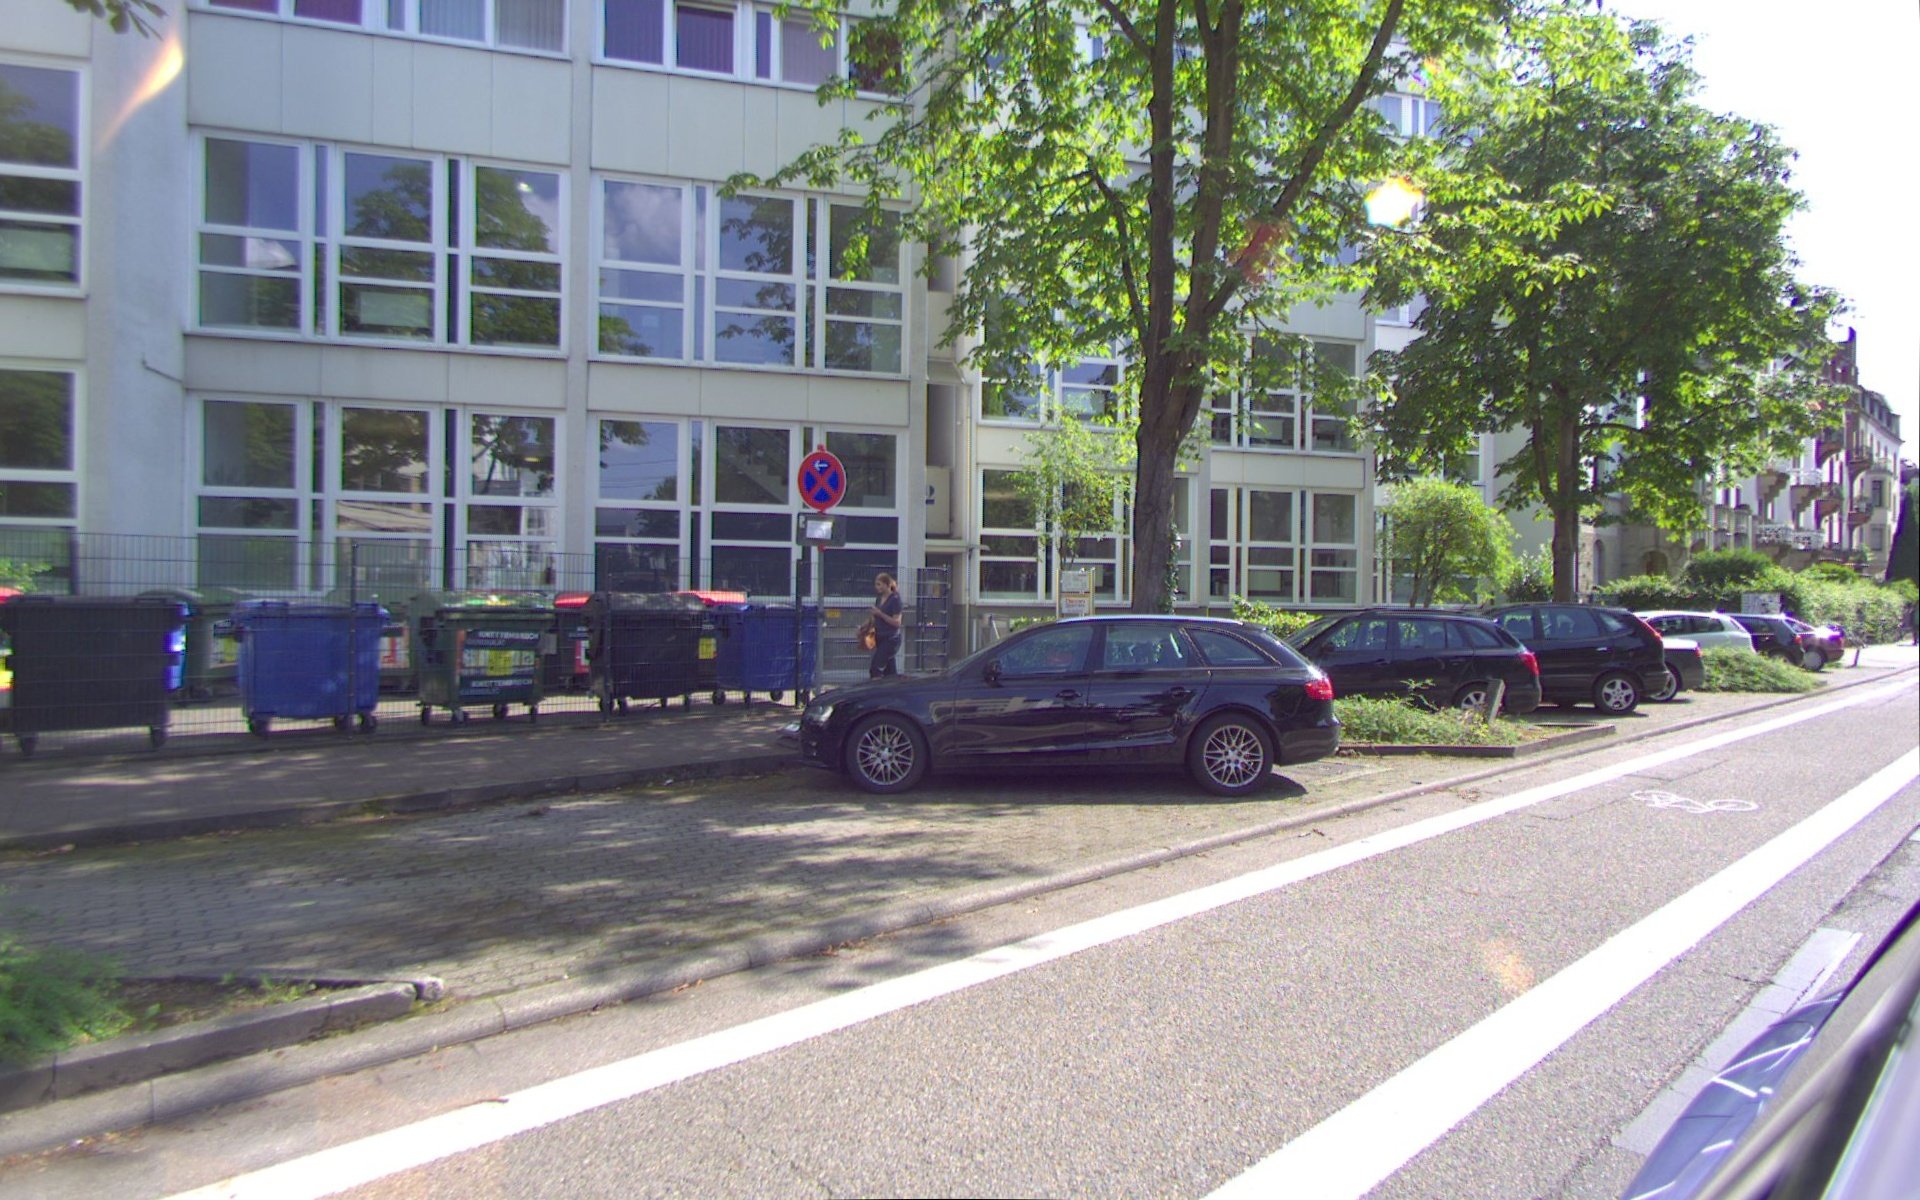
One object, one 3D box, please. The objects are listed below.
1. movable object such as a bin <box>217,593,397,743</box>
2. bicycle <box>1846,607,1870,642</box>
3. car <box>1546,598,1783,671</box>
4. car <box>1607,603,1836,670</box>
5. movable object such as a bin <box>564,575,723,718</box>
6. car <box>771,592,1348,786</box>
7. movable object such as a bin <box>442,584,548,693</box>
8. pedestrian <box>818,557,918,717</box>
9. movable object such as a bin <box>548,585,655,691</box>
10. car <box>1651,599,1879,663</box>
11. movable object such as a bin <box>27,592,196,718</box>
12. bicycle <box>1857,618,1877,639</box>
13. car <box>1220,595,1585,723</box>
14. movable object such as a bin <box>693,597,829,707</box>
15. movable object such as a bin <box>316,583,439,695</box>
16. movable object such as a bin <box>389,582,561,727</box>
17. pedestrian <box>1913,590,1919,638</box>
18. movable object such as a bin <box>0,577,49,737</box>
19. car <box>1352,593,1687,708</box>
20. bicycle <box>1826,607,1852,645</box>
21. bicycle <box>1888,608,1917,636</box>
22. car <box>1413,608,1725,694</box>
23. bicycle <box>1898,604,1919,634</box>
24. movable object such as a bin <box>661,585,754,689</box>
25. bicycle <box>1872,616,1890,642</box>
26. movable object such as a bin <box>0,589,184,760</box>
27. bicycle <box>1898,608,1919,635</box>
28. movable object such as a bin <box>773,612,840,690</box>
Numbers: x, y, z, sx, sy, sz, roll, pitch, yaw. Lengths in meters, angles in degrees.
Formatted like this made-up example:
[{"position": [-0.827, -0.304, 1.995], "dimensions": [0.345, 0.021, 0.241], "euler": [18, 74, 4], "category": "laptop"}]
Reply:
[{"position": [-6.506, 0.622, 10.084], "dimensions": [1.335, 1.353, 1.276], "euler": [0, -1, -42], "category": "movable object such as a bin"}, {"position": [30.237, 0.801, 34.068], "dimensions": [1.975, 1.122, 0.280], "euler": [0, 4, -41], "category": "bicycle"}, {"position": [15.076, 0.712, 21.823], "dimensions": [3.929, 1.479, 1.534], "euler": [0, 0, 5], "category": "car"}, {"position": [17.772, 0.828, 23.786], "dimensions": [3.932, 1.467, 1.696], "euler": [0, 0, 8], "category": "car"}, {"position": [-3.774, 0.507, 12.050], "dimensions": [1.443, 1.558, 1.277], "euler": [0, 0, -40], "category": "movable object such as a bin"}, {"position": [0.788, 0.719, 8.896], "dimensions": [4.455, 1.460, 2.029], "euler": [-1, -1, 5], "category": "car"}, {"position": [-6.692, 0.529, 14.665], "dimensions": [1.237, 1.465, 1.383], "euler": [1, 2, -19], "category": "movable object such as a bin"}, {"position": [-1.146, 0.431, 12.610], "dimensions": [0.983, 1.897, 0.763], "euler": [0, 0, -35], "category": "pedestrian"}, {"position": [-5.249, 0.533, 14.924], "dimensions": [1.422, 1.474, 1.212], "euler": [0, 0, -17], "category": "movable object such as a bin"}, {"position": [20.275, 0.758, 25.652], "dimensions": [4.090, 1.441, 1.863], "euler": [1, 1, 8], "category": "car"}, {"position": [-9.993, 0.612, 11.999], "dimensions": [1.237, 1.355, 1.216], "euler": [1, 2, -25], "category": "movable object such as a bin"}, {"position": [31.652, 0.998, 35.300], "dimensions": [1.532, 0.685, 0.280], "euler": [0, 4, -41], "category": "bicycle"}, {"position": [5.591, 0.730, 13.218], "dimensions": [4.004, 1.462, 1.723], "euler": [1, -2, 6], "category": "car"}, {"position": [-2.607, 0.636, 13.228], "dimensions": [1.302, 1.335, 1.277], "euler": [0, 0, -40], "category": "movable object such as a bin"}, {"position": [-8.189, 0.523, 14.319], "dimensions": [1.237, 1.465, 1.383], "euler": [1, 2, -19], "category": "movable object such as a bin"}, {"position": [-5.341, 0.580, 11.161], "dimensions": [1.274, 1.456, 1.331], "euler": [-2, -3, 42], "category": "movable object such as a bin"}, {"position": [38.045, 0.574, 39.728], "dimensions": [0.787, 1.884, 0.571], "euler": [4, 2, 43], "category": "pedestrian"}, {"position": [-9.431, 0.531, 9.387], "dimensions": [0.918, 1.500, 1.270], "euler": [1, -1, -13], "category": "movable object such as a bin"}, {"position": [8.217, 0.720, 15.240], "dimensions": [3.933, 1.595, 1.900], "euler": [0, -1, 8], "category": "car"}, {"position": [27.630, 0.815, 31.798], "dimensions": [1.975, 1.122, 0.280], "euler": [0, 4, -41], "category": "bicycle"}, {"position": [36.892, 0.856, 39.623], "dimensions": [1.839, 1.001, 0.613], "euler": [0, 3, -41], "category": "bicycle"}, {"position": [10.242, 0.837, 17.317], "dimensions": [4.102, 1.366, 1.902], "euler": [0, -1, 5], "category": "car"}, {"position": [41.081, 0.803, 43.604], "dimensions": [2.472, 1.246, 0.741], "euler": [0, 1, -41], "category": "bicycle"}, {"position": [-3.865, 0.529, 15.406], "dimensions": [1.237, 1.465, 1.383], "euler": [1, 2, -19], "category": "movable object such as a bin"}, {"position": [33.551, 1.033, 36.860], "dimensions": [1.639, 0.918, 0.274], "euler": [0, -1, -41], "category": "bicycle"}, {"position": [-7.633, 0.599, 8.884], "dimensions": [1.215, 1.353, 1.276], "euler": [0, -1, -42], "category": "movable object such as a bin"}, {"position": [38.722, 0.873, 41.109], "dimensions": [2.321, 1.008, 0.612], "euler": [0, 3, -41], "category": "bicycle"}, {"position": [-2.421, 0.786, 15.898], "dimensions": [0.910, 1.103, 1.037], "euler": [1, 2, -15], "category": "movable object such as a bin"}]
